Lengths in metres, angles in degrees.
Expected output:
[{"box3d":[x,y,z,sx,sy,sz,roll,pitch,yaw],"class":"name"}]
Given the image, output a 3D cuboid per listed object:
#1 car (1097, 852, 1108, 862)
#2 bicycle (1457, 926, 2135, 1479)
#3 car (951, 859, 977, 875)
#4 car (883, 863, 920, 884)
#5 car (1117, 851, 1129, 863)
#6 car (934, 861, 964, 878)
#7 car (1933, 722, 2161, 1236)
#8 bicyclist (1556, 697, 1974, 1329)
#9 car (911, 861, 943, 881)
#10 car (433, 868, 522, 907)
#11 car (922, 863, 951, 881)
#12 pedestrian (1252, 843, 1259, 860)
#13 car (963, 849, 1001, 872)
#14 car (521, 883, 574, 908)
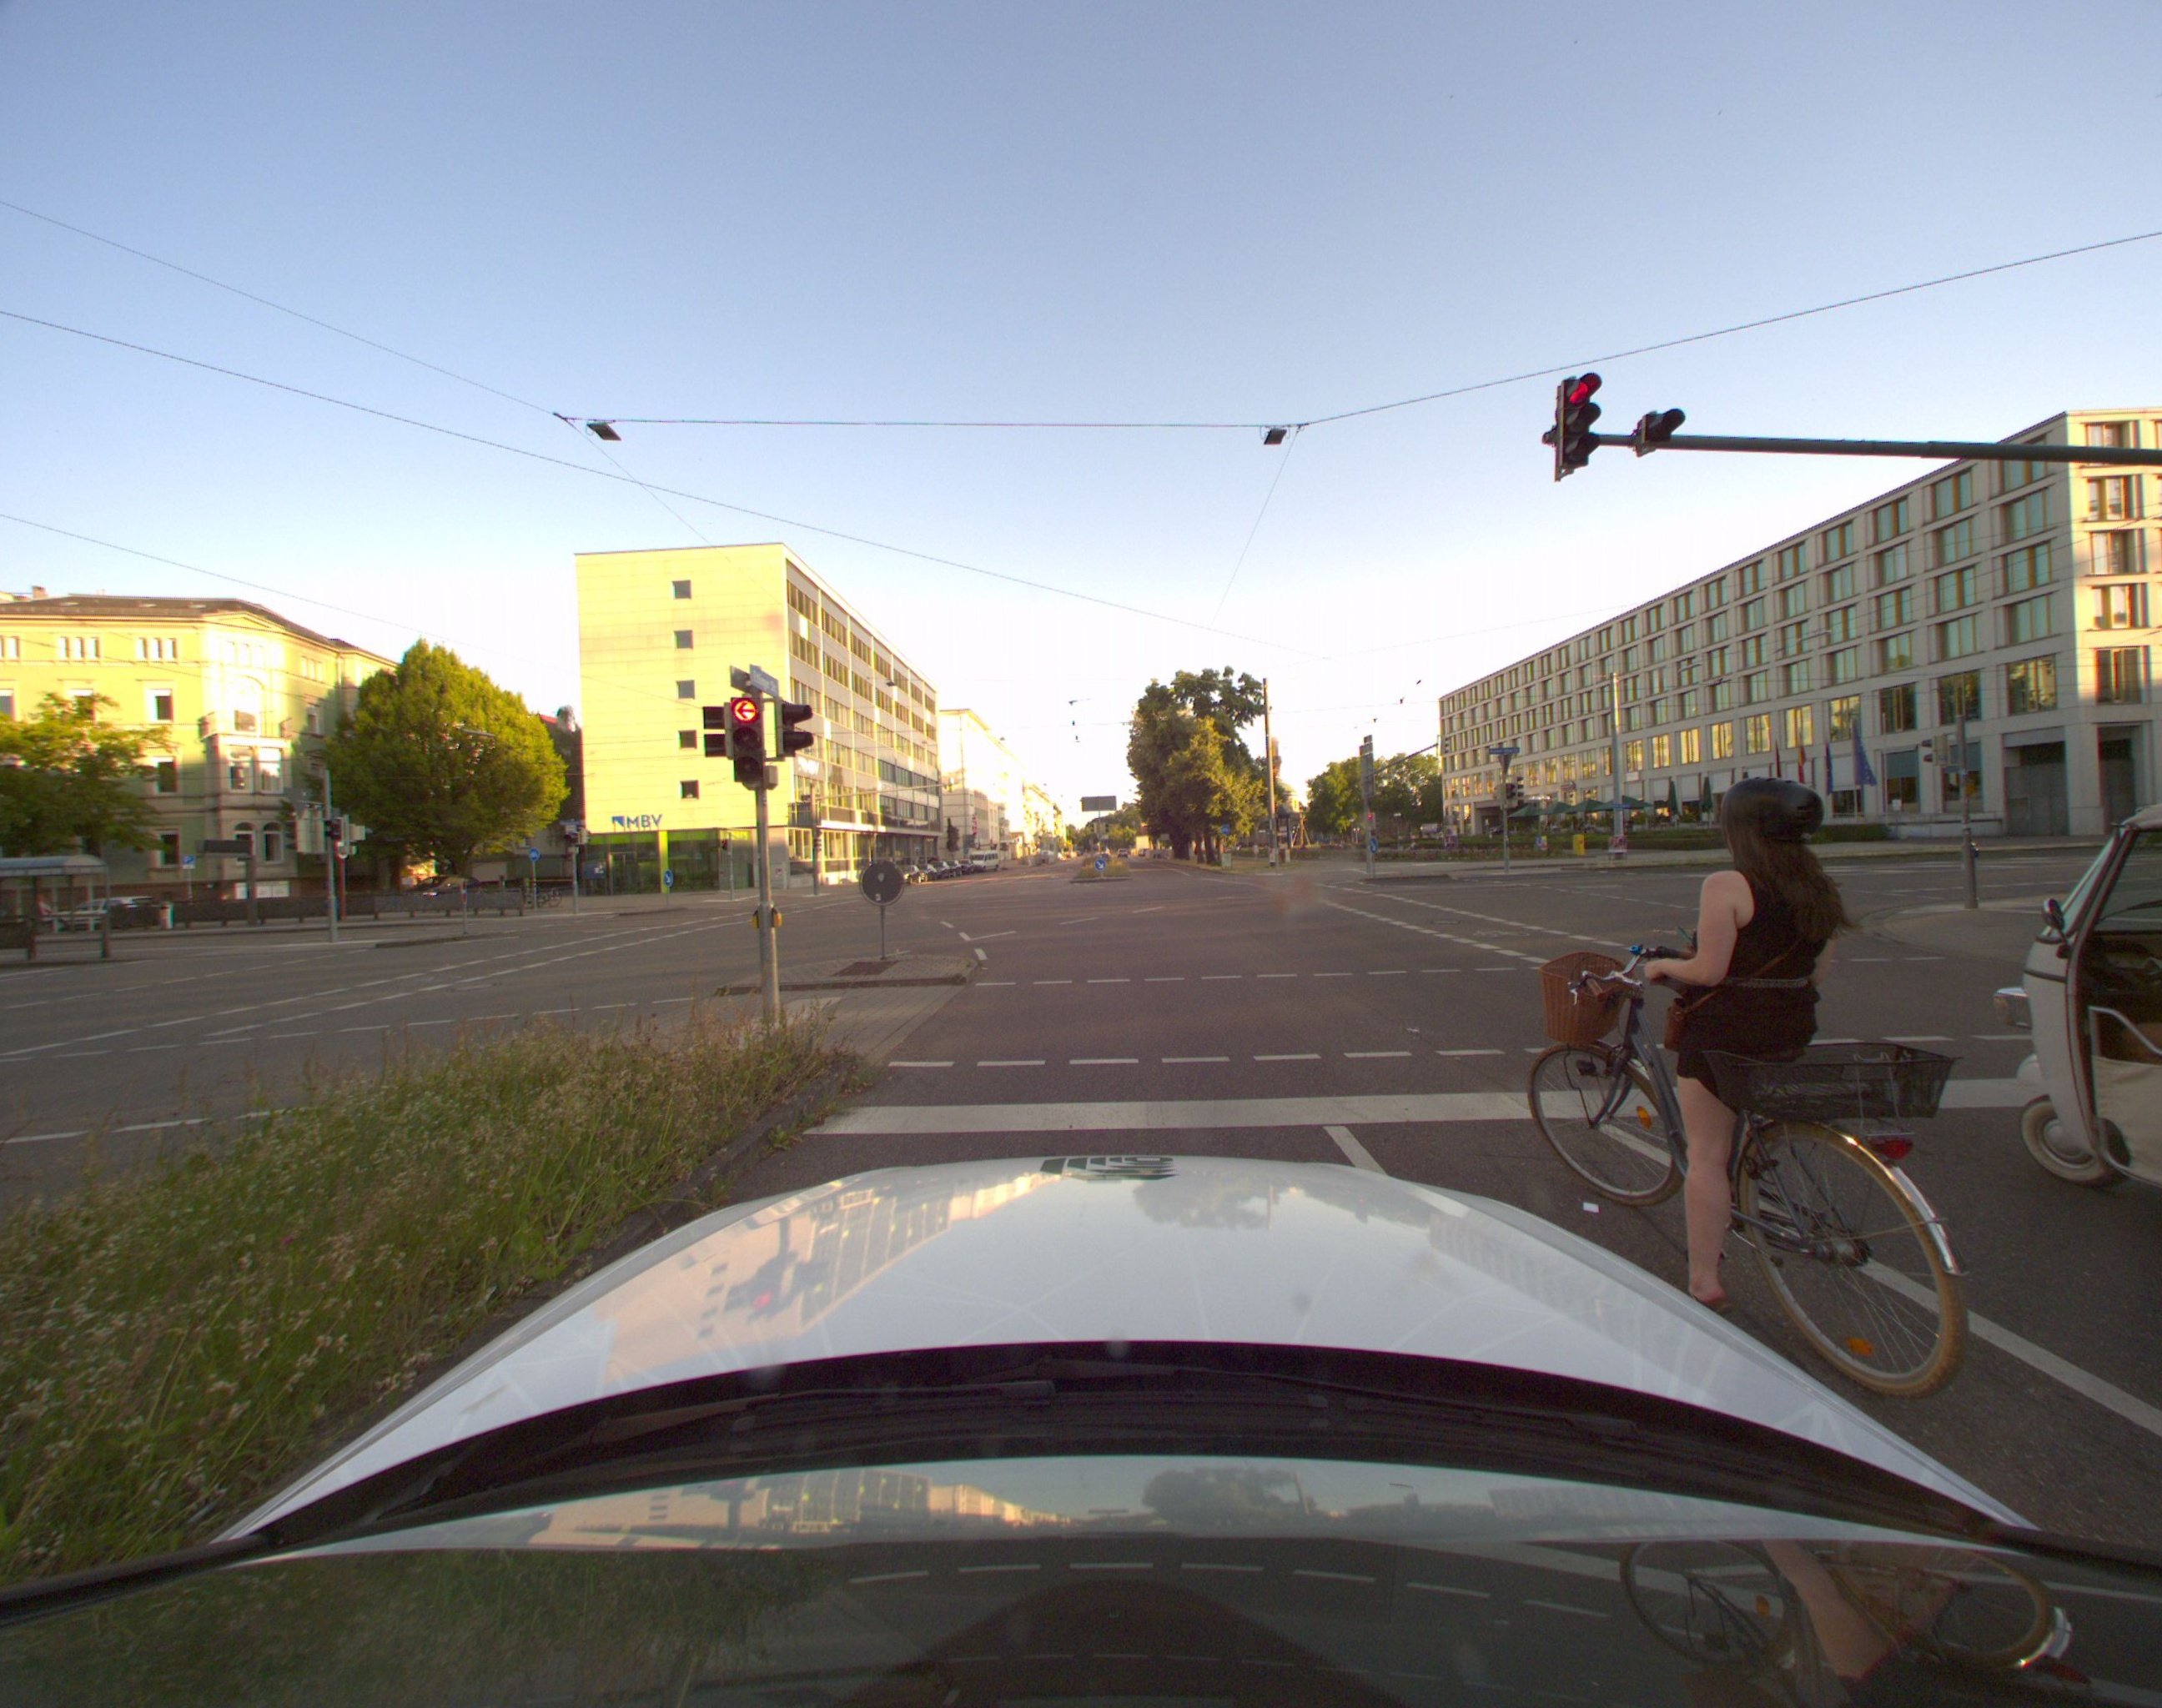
[{"box3d":[3.952,0.576,149.230,1.986,1.816,4.001,-3,0,1],"class":"car"},{"box3d":[2.118,0.893,2.906,0.635,1.069,2.070,-2,0,2],"class":"bicycle"},{"box3d":[-12.244,1.364,85.449,1.787,1.475,4.005,-3,-2,5],"class":"car"},{"box3d":[-13.720,1.523,62.543,1.790,1.475,4.000,-3,-2,1],"class":"car"},{"box3d":[7.525,0.597,146.505,1.986,2.013,4.001,-3,0,1],"class":"car"},{"box3d":[-12.792,1.528,79.055,1.787,1.475,4.006,-3,-2,6],"class":"car"},{"box3d":[4.407,0.424,2.275,1.453,1.780,2.568,-2,1,4],"class":"car"},{"box3d":[2.079,0.431,2.592,0.626,1.693,0.749,-3,0,1],"class":"bicyclist"},{"box3d":[-12.949,1.464,68.837,1.790,1.475,4.000,-3,-2,1],"class":"car"},{"box3d":[-34.952,1.905,47.300,1.986,2.013,4.001,-3,0,1],"class":"car"},{"box3d":[-13.083,1.682,73.827,1.790,1.475,4.000,-3,-3,1],"class":"car"},{"box3d":[16.595,-0.240,77.412,0.506,1.668,0.531,-3,0,0],"class":"pedestrian"},{"box3d":[-11.142,0.809,92.025,2.161,2.385,6.010,-3,-2,13],"class":"car"},{"box3d":[-25.819,1.991,39.472,0.850,1.073,2.522,-3,0,1],"class":"car"}]
